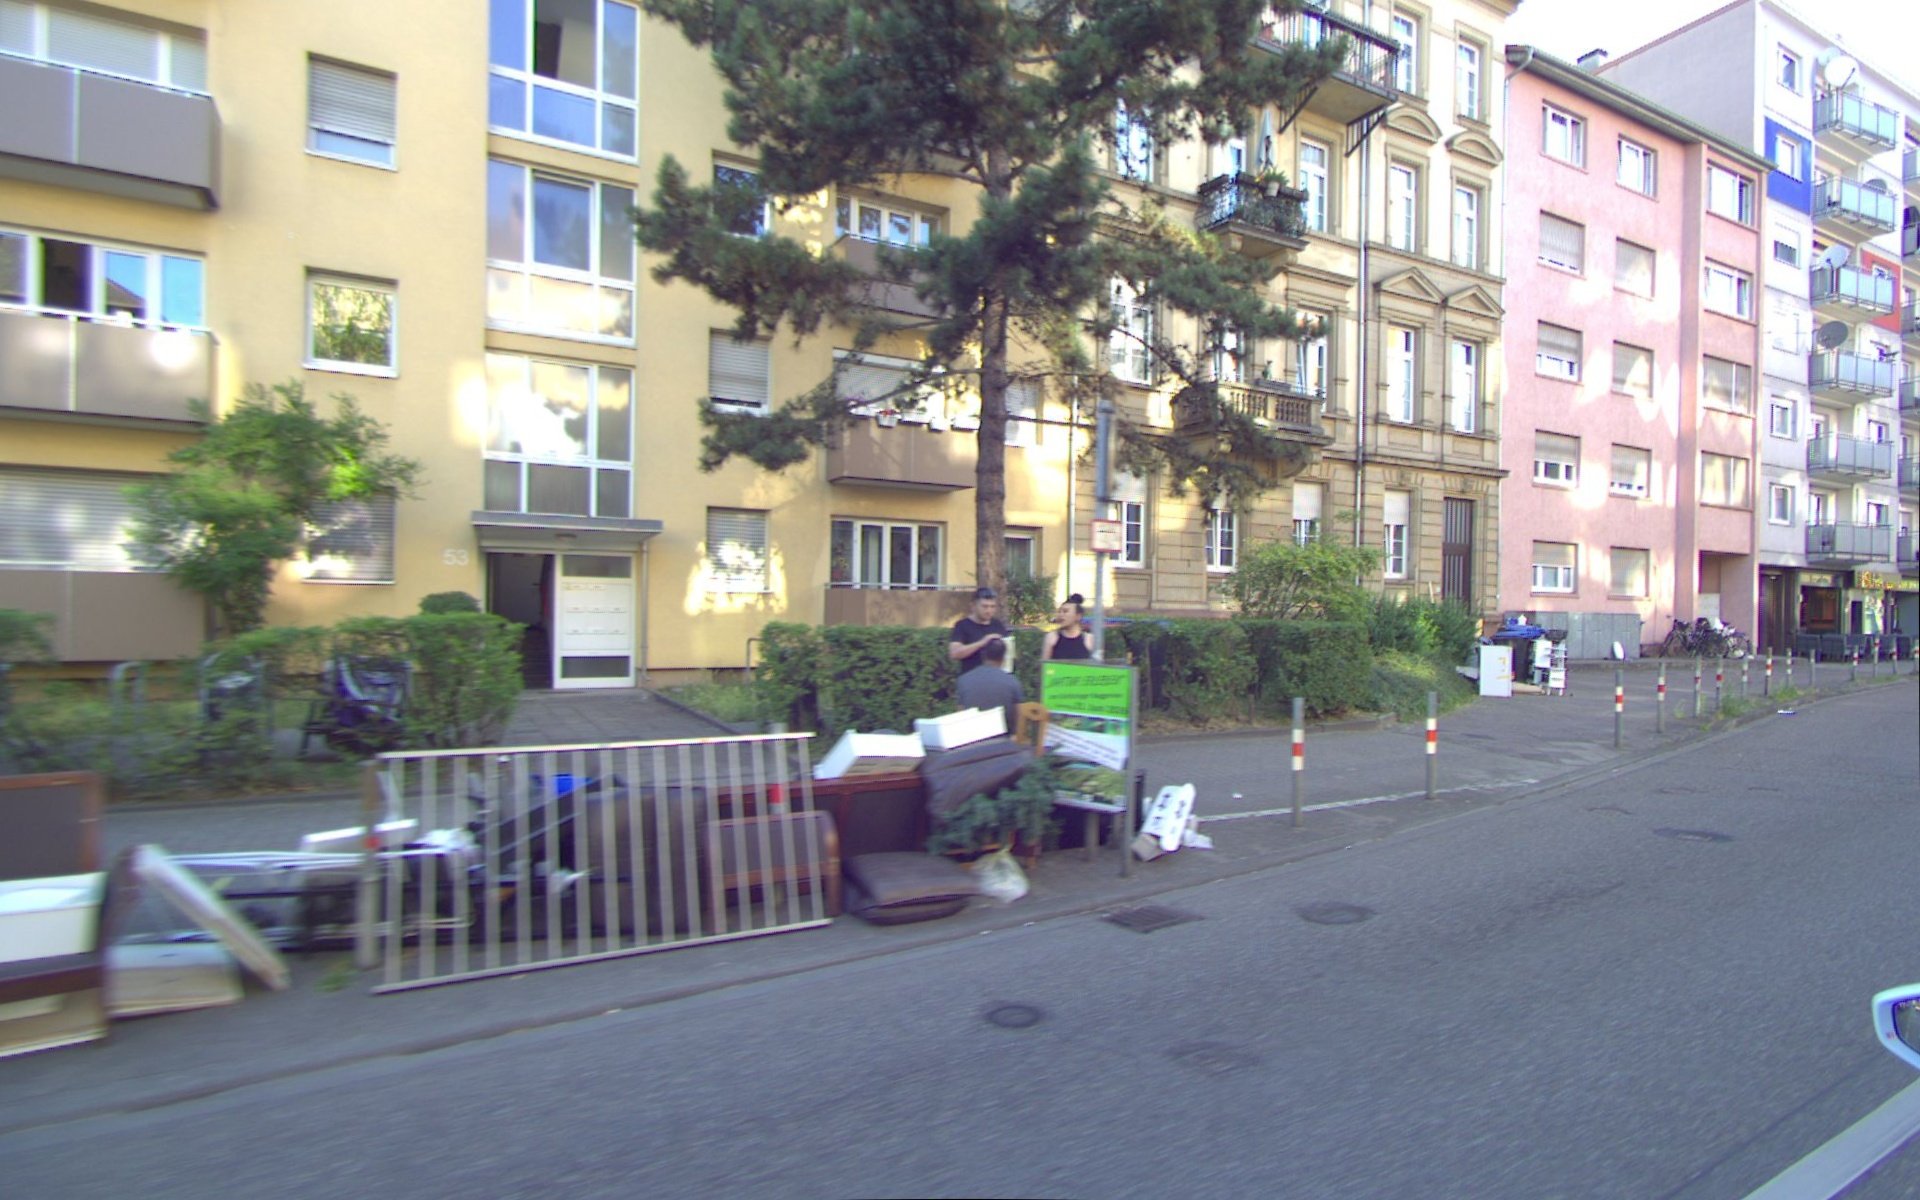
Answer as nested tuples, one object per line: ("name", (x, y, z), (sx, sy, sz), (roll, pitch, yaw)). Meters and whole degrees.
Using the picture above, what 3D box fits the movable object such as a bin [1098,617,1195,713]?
("movable object such as a bin", (2.269, 0.768, 12.287), (0.760, 1.065, 0.863), (1, 3, -30))

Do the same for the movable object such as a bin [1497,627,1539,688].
("movable object such as a bin", (10.674, 1.088, 19.212), (0.630, 1.098, 0.582), (3, 1, 31))

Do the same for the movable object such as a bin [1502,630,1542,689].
("movable object such as a bin", (11.056, 1.162, 19.759), (0.630, 1.082, 0.626), (3, 1, 31))

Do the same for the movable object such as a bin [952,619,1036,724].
("movable object such as a bin", (0.374, 0.774, 11.221), (0.575, 1.065, 0.807), (1, 3, -30))

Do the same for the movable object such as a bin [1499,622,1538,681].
("movable object such as a bin", (11.364, 1.032, 20.420), (0.630, 1.126, 0.582), (3, 1, 31))

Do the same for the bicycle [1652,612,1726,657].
("bicycle", (20.530, 0.969, 28.326), (1.648, 1.176, 0.494), (2, 1, 36))

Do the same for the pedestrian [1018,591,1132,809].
("pedestrian", (0.933, 0.769, 8.163), (0.690, 1.674, 0.600), (1, 0, -35))

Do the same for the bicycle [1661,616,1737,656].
("bicycle", (21.178, 1.008, 28.803), (0.544, 1.054, 1.658), (1, 1, -35))

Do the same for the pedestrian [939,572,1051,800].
("pedestrian", (0.274, 0.639, 7.797), (0.718, 1.674, 0.476), (1, 0, -35))

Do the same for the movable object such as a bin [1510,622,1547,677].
("movable object such as a bin", (12.145, 1.051, 21.469), (0.630, 1.126, 0.582), (3, 1, 31))

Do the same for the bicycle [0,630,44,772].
("bicycle", (-7.257, 0.752, 7.191), (0.582, 0.994, 1.778), (1, 1, -27))

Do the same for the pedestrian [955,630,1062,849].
("pedestrian", (0.327, 0.923, 6.917), (0.476, 1.396, 0.555), (1, 1, -34))

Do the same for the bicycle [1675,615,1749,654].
("bicycle", (21.874, 0.996, 29.239), (0.545, 1.054, 1.654), (1, 1, -43))

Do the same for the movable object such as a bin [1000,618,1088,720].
("movable object such as a bin", (0.945, 0.760, 11.426), (0.575, 1.065, 0.863), (1, 3, -30))

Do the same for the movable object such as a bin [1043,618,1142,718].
("movable object such as a bin", (1.550, 0.771, 11.807), (0.760, 1.065, 0.863), (1, 3, -30))

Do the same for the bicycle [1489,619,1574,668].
("bicycle", (13.981, 1.052, 24.628), (0.654, 0.980, 1.640), (1, 5, -30))

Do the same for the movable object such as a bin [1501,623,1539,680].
("movable object such as a bin", (11.696, 1.063, 20.978), (0.630, 1.126, 0.582), (3, 1, 31))

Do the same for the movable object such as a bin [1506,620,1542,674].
("movable object such as a bin", (12.379, 1.025, 22.031), (0.630, 1.126, 0.582), (3, 1, 31))
